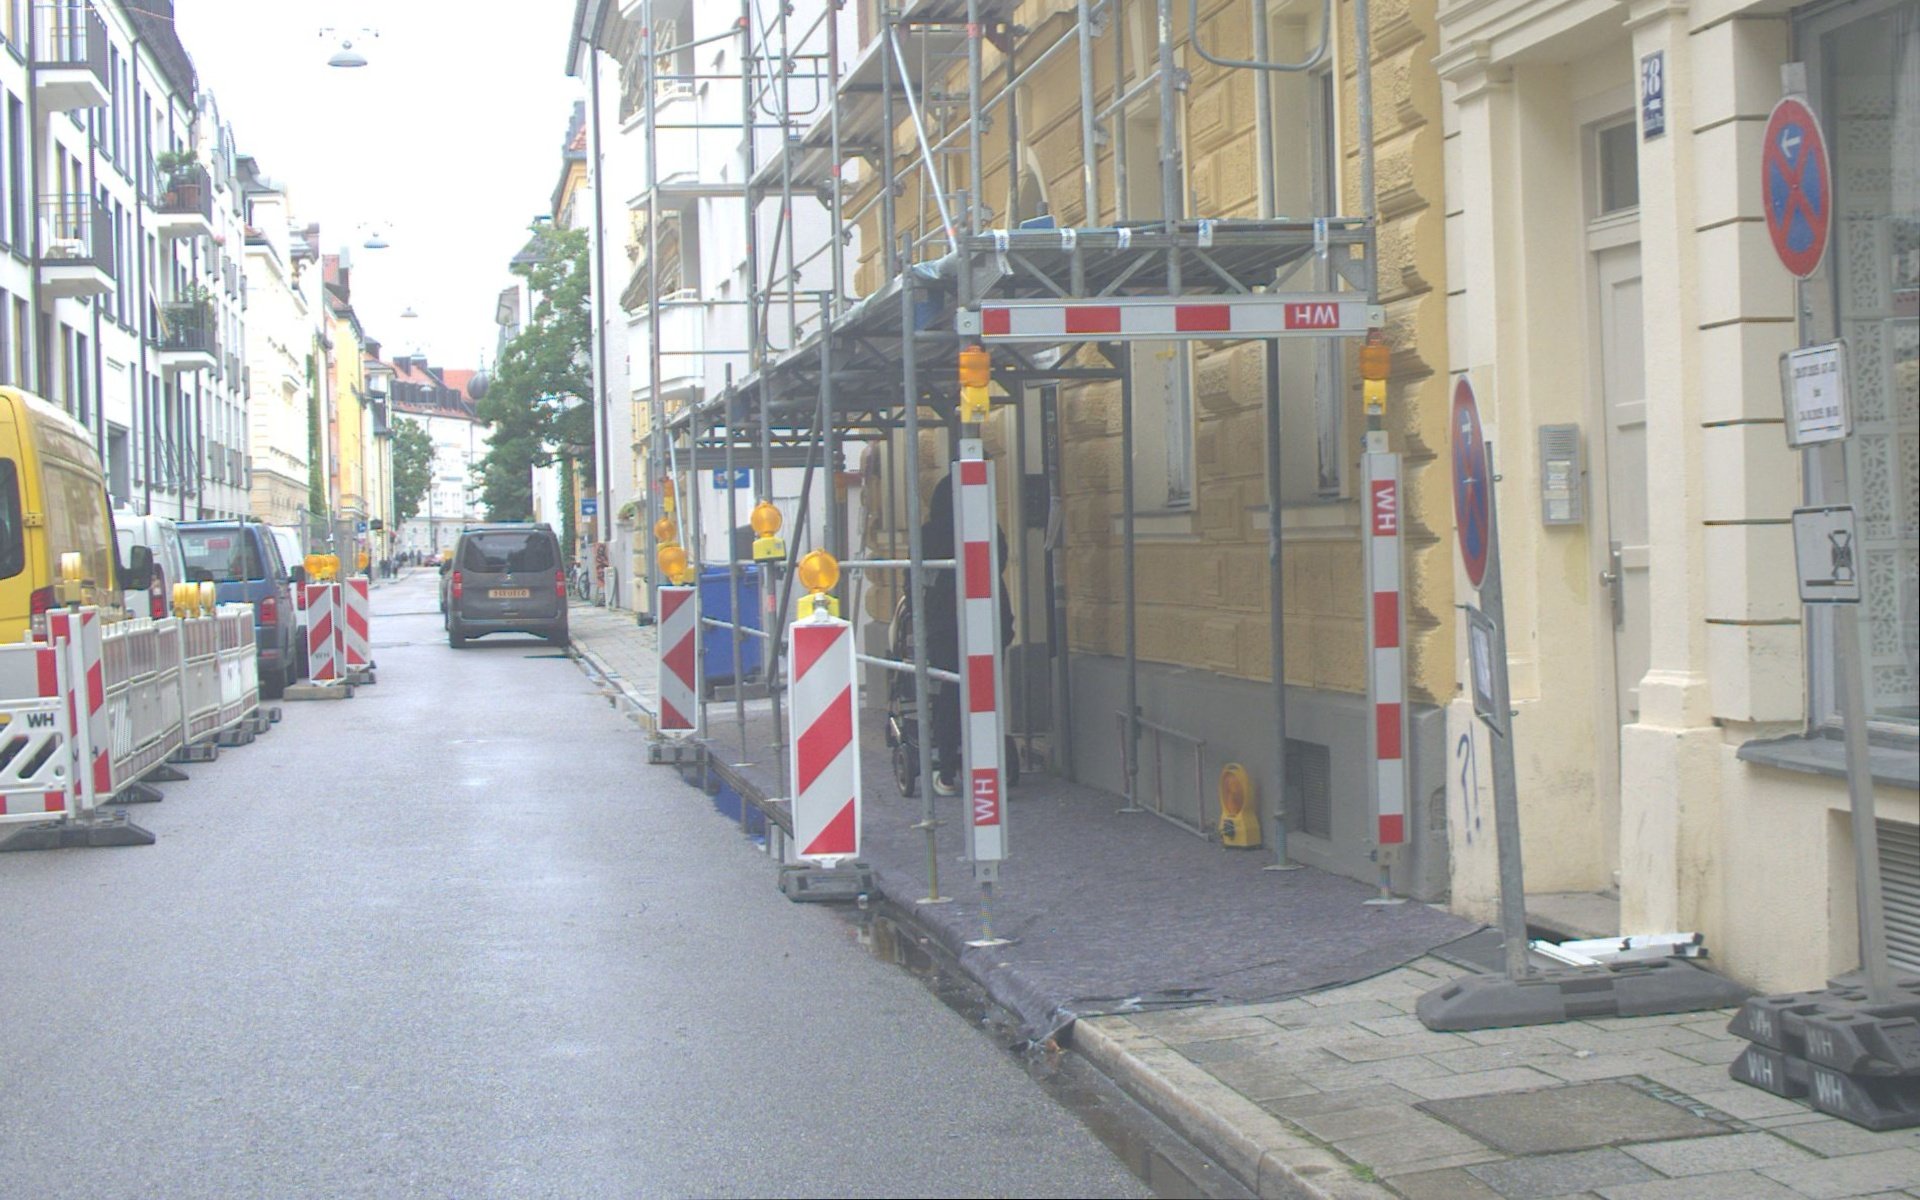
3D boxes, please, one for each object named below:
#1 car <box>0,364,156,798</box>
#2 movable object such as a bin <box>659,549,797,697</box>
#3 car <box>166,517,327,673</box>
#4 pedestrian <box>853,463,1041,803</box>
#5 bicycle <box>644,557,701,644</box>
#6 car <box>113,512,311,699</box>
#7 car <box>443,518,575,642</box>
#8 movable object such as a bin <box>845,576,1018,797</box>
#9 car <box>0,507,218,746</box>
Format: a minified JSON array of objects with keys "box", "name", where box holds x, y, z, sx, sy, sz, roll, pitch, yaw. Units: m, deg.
[{"box":[-6.872,-0.131,23.702,1.993,2.570,6.738,-2,1,-9],"name":"car"},{"box":[-2.291,0.215,34.088,1.086,1.341,1.317,-4,2,4],"name":"movable object such as a bin"},{"box":[-9.366,-0.091,45.187,1.904,1.891,5.090,-2,1,-11],"name":"car"},{"box":[-0.082,0.167,18.746,0.729,1.746,0.988,-5,2,-9],"name":"pedestrian"},{"box":[-4.151,-0.003,49.496,0.638,1.149,1.916,-4,2,-7],"name":"bicycle"},{"box":[-8.445,0.022,39.205,1.727,1.891,5.510,-3,1,-8],"name":"car"},{"box":[-7.380,-0.348,55.939,1.993,1.925,4.661,0,1,-9],"name":"car"},{"box":[-0.173,0.472,19.455,0.729,1.137,0.988,-6,2,-9],"name":"movable object such as a bin"},{"box":[-7.826,0.201,30.955,1.917,1.891,4.792,-3,1,-9],"name":"car"}]
